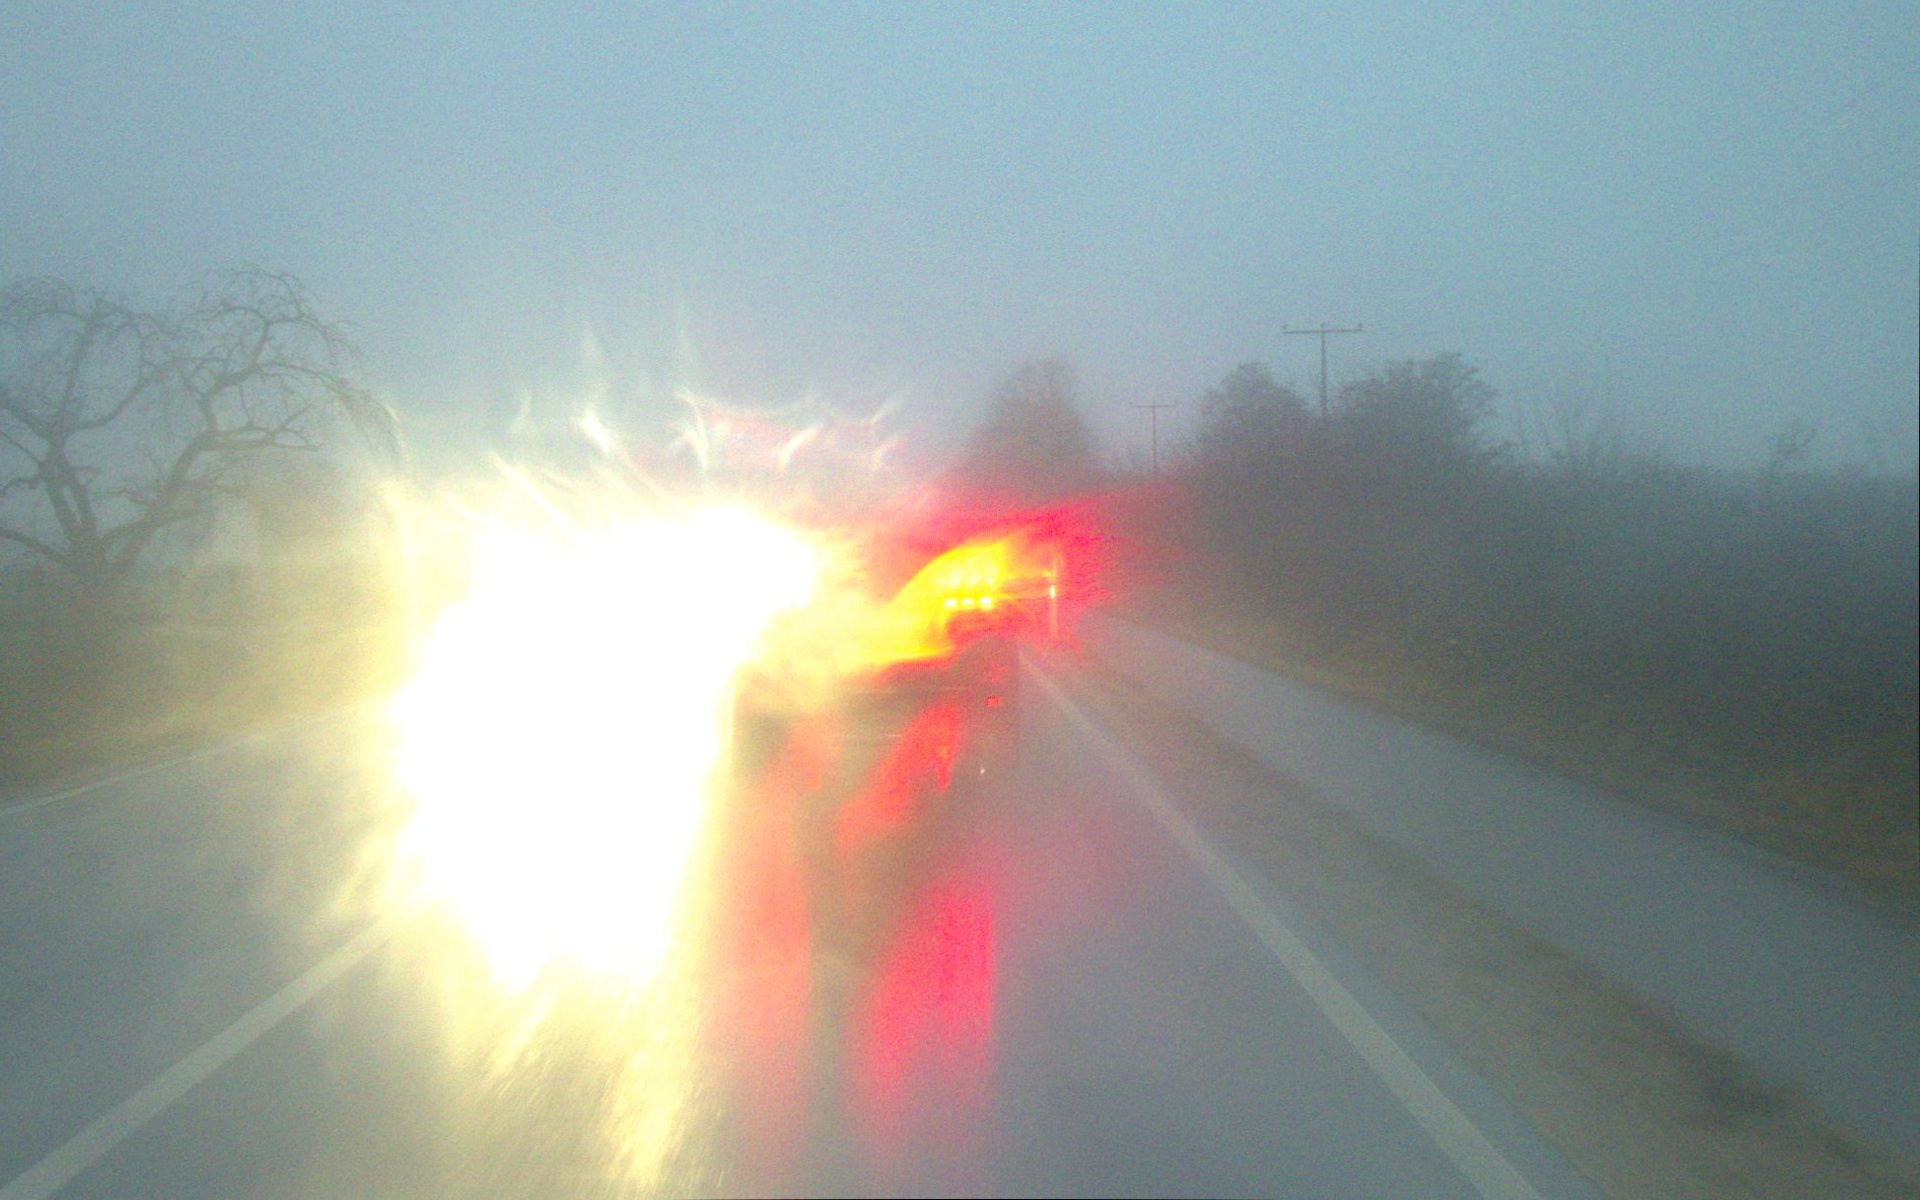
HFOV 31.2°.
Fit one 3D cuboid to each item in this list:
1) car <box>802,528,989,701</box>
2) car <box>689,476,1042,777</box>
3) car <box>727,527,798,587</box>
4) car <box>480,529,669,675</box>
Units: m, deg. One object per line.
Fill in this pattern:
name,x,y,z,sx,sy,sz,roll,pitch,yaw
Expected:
car,-0.710,0.126,39.030,1.993,1.843,4.000,1,1,0
car,-0.591,0.110,23.143,2.120,1.813,4.980,0,1,0
car,-5.476,-1.210,95.577,1.761,1.550,4.000,-2,1,-1
car,-4.385,-0.021,39.685,1.855,1.512,4.517,-2,1,-3
